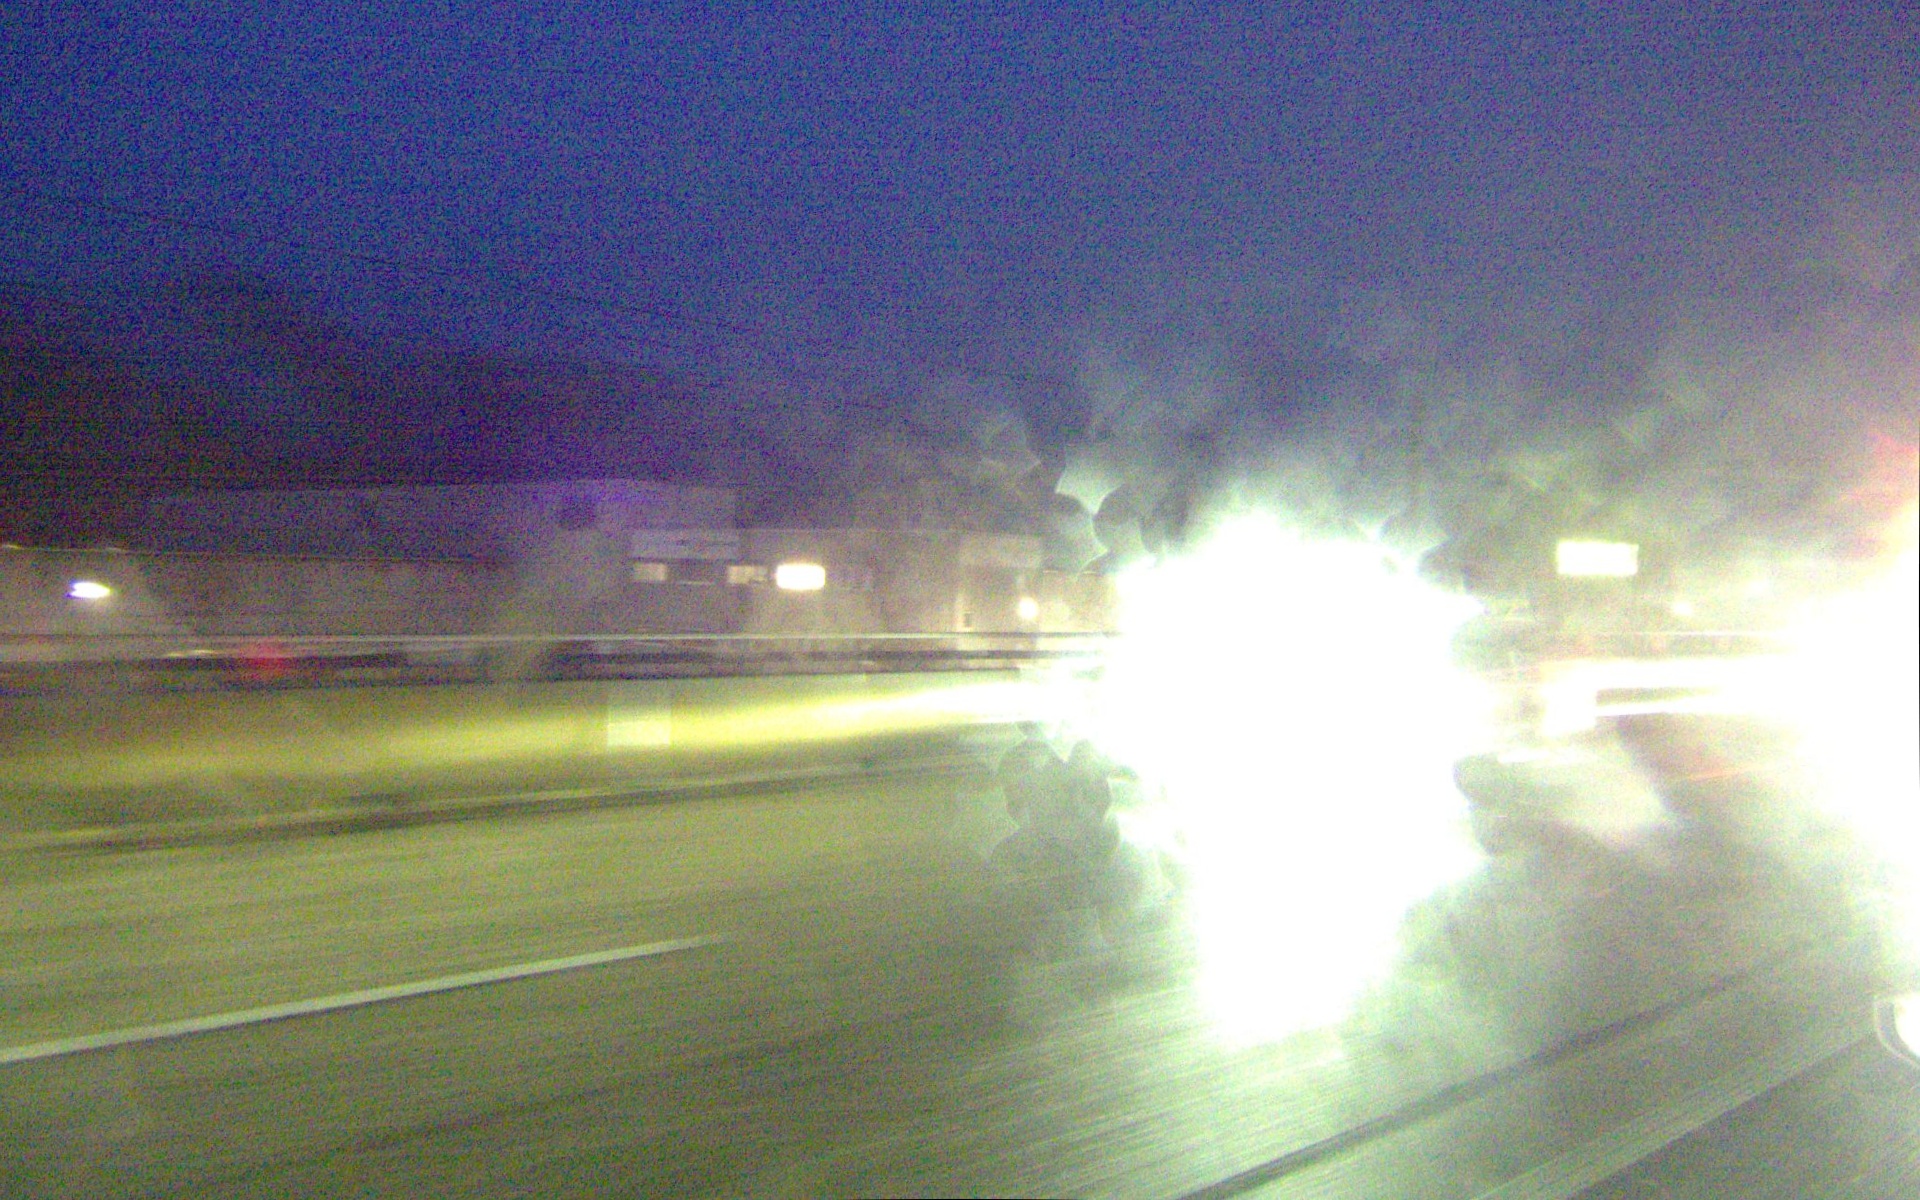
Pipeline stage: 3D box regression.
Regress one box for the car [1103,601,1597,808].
[{"bbox_3d":[3.670,0.782,9.220,4.494,1.463,1.908,1,0,-32],"label":"car"}]
